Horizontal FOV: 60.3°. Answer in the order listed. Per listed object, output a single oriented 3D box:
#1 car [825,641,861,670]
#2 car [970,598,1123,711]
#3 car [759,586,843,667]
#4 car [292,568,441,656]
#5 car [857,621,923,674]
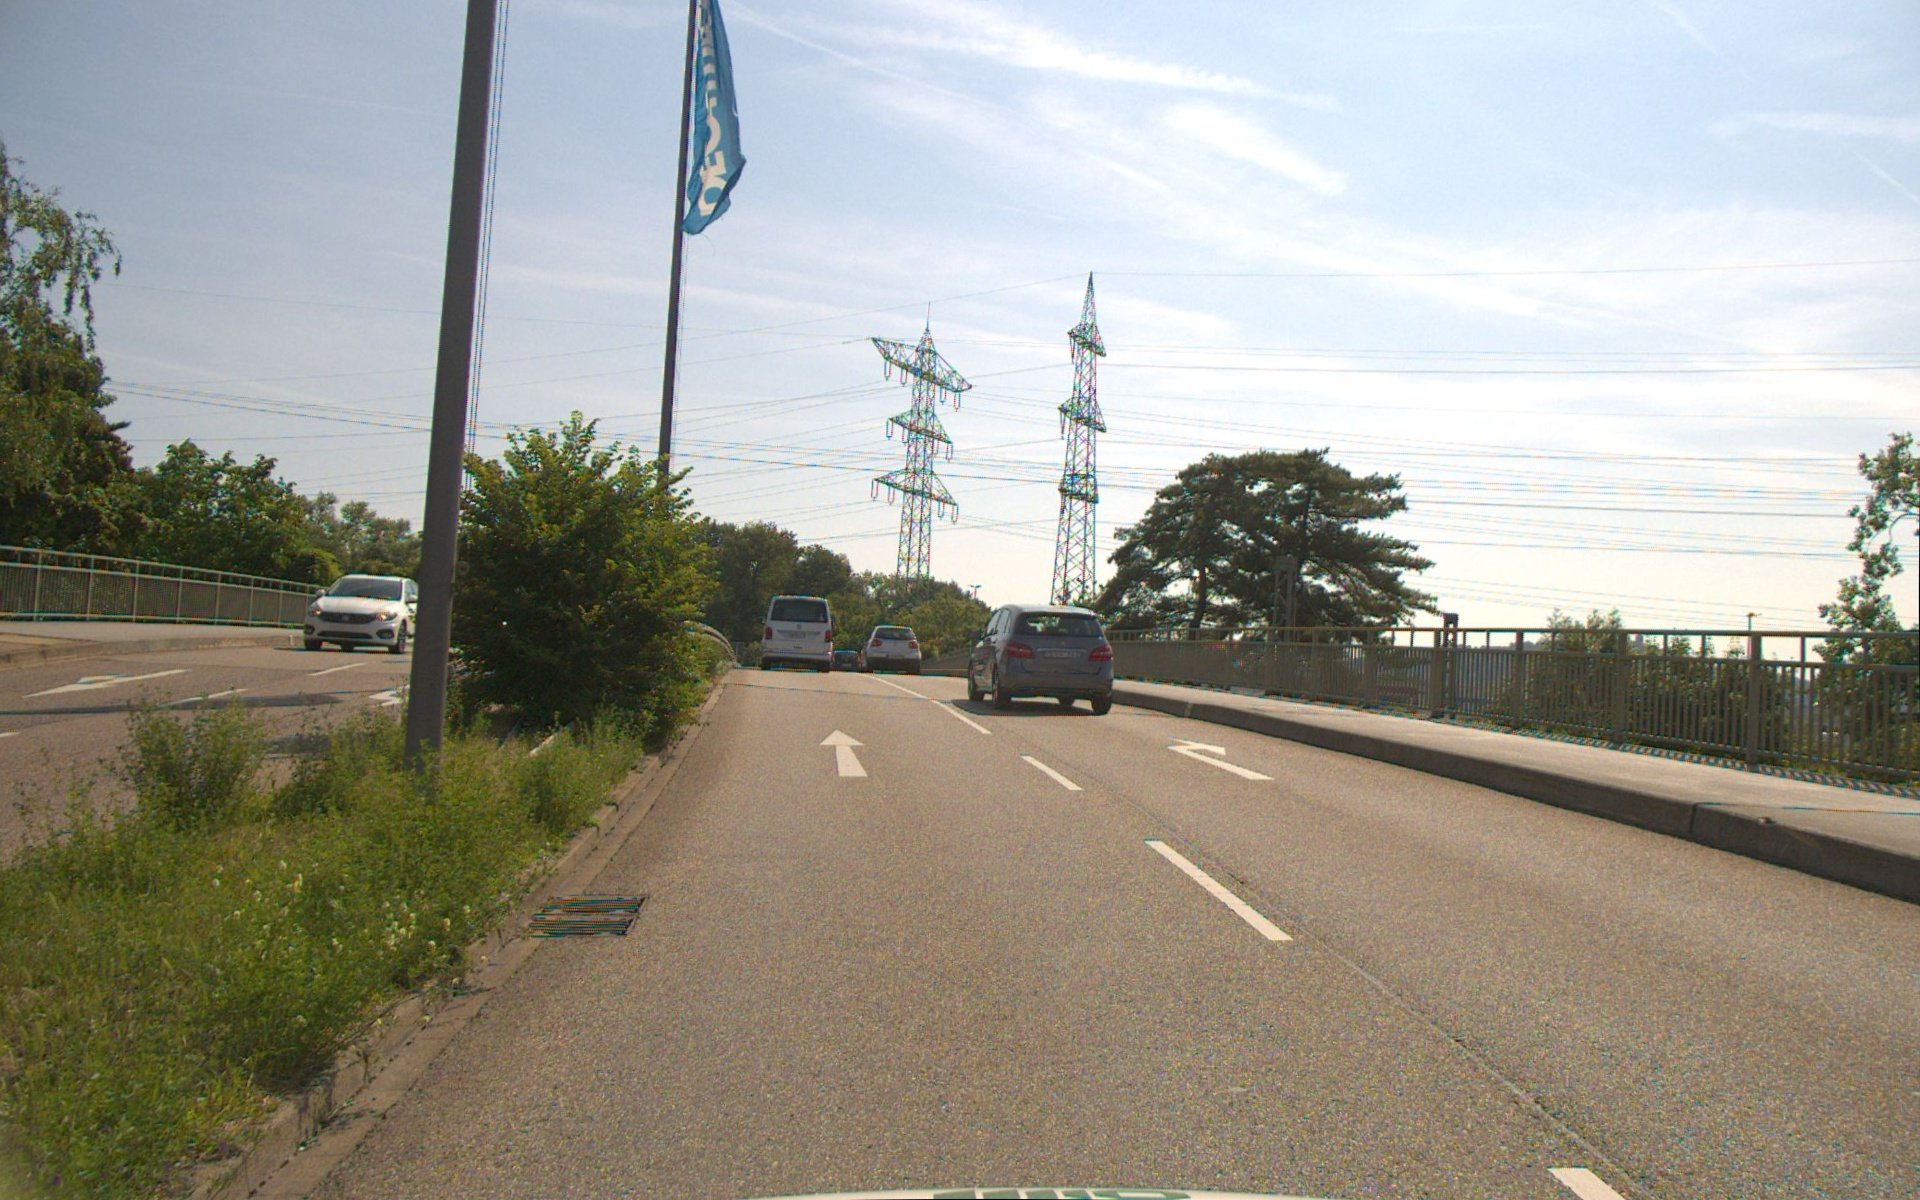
[{"bbox_3d":[-6.074,2.873,85.587,1.739,1.355,3.736,3,-2,-5],"label":"car"},{"bbox_3d":[1.249,0.811,25.722,1.820,1.556,4.140,2,-1,-4],"label":"car"},{"bbox_3d":[-4.301,0.710,45.248,1.998,2.049,3.998,2,-1,-2],"label":"car"},{"bbox_3d":[-11.412,0.237,32.081,1.762,1.578,3.995,1,-1,-6],"label":"car"},{"bbox_3d":[-2.256,1.503,52.389,1.820,1.556,4.138,2,-2,-6],"label":"car"}]
